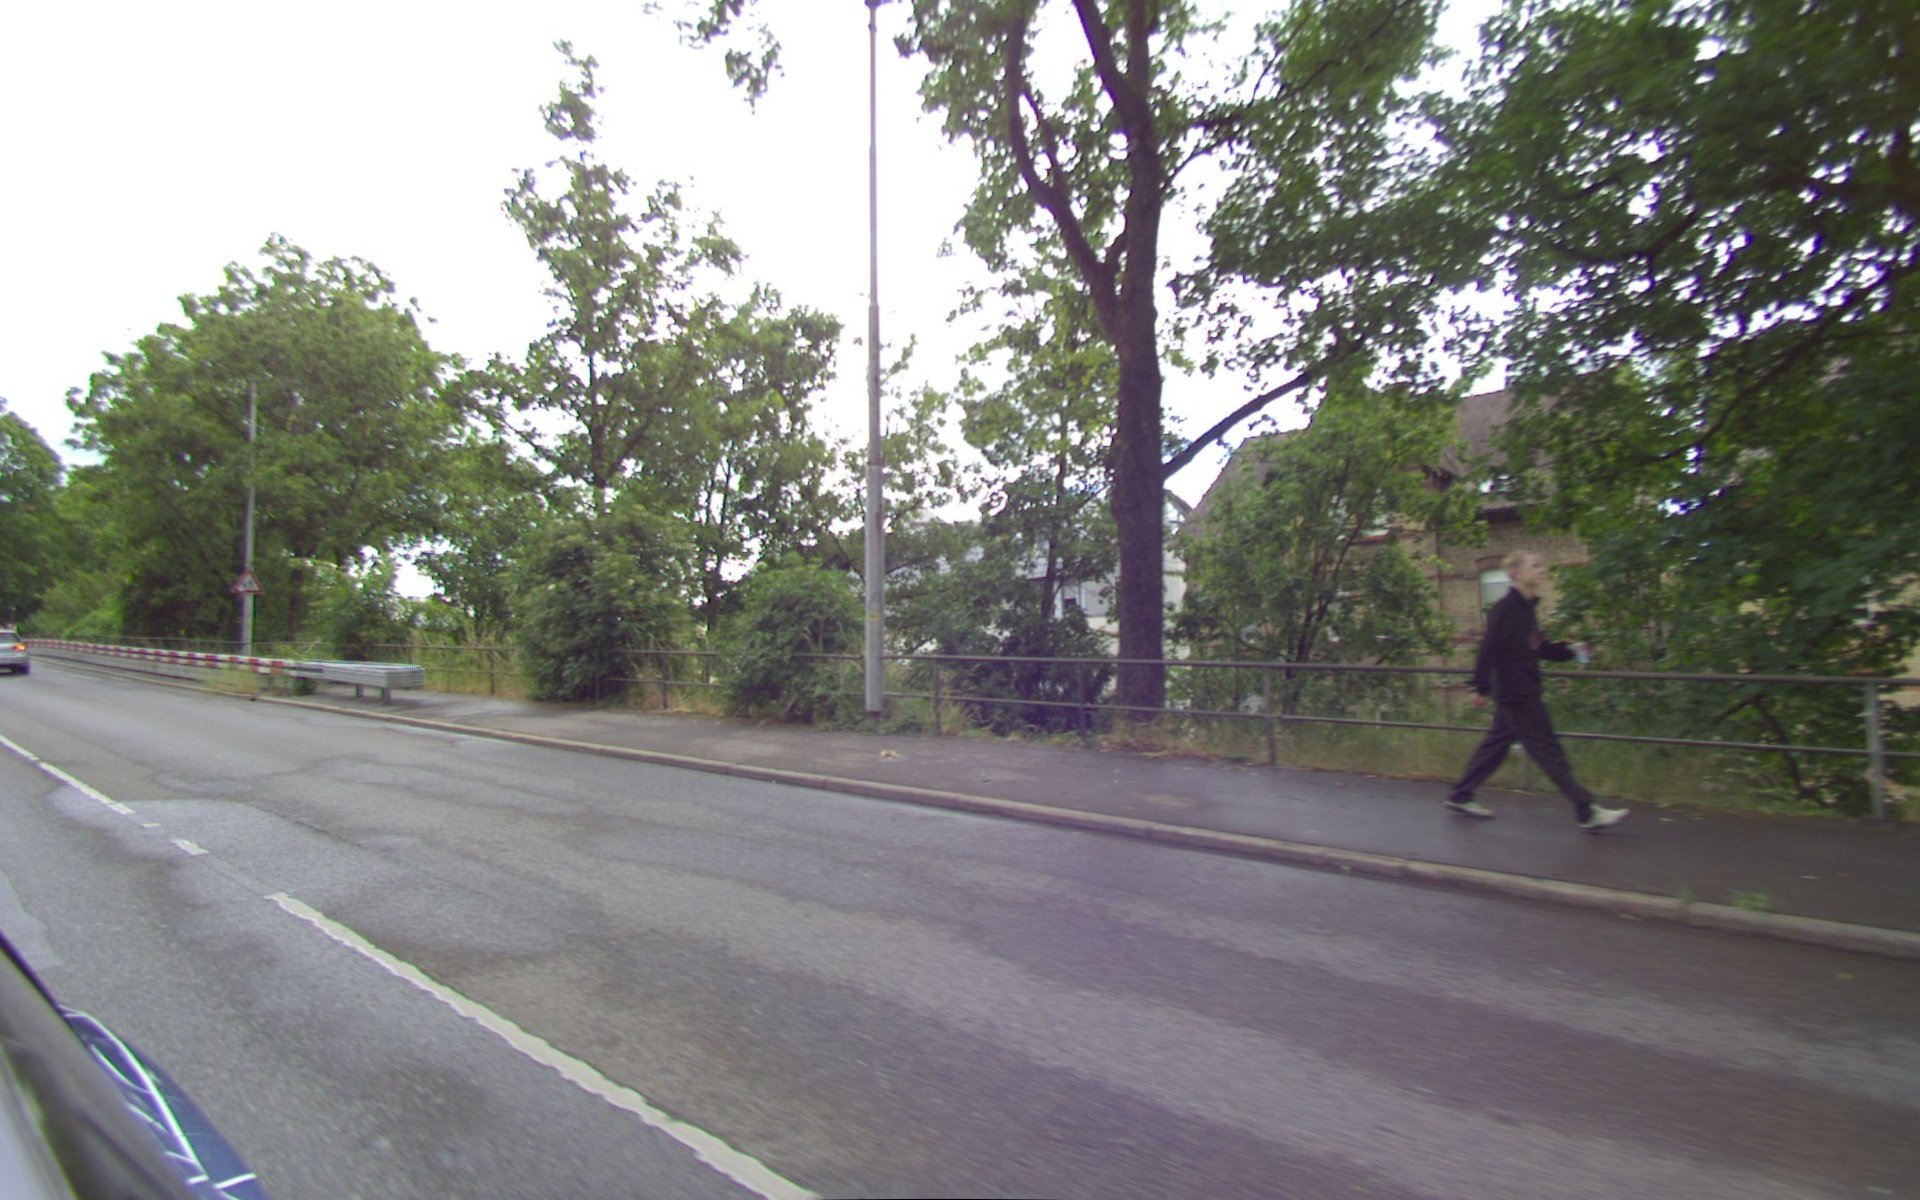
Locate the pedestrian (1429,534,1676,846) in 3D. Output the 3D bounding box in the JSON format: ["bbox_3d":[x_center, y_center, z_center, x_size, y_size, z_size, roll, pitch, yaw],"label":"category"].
[{"bbox_3d":[3.782,0.520,6.473,1.207,1.787,0.781,-2,1,38],"label":"pedestrian"}]

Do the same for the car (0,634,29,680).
[{"bbox_3d":[-32.106,1.875,33.281,4.141,1.438,1.775,-2,-2,41],"label":"car"}]
